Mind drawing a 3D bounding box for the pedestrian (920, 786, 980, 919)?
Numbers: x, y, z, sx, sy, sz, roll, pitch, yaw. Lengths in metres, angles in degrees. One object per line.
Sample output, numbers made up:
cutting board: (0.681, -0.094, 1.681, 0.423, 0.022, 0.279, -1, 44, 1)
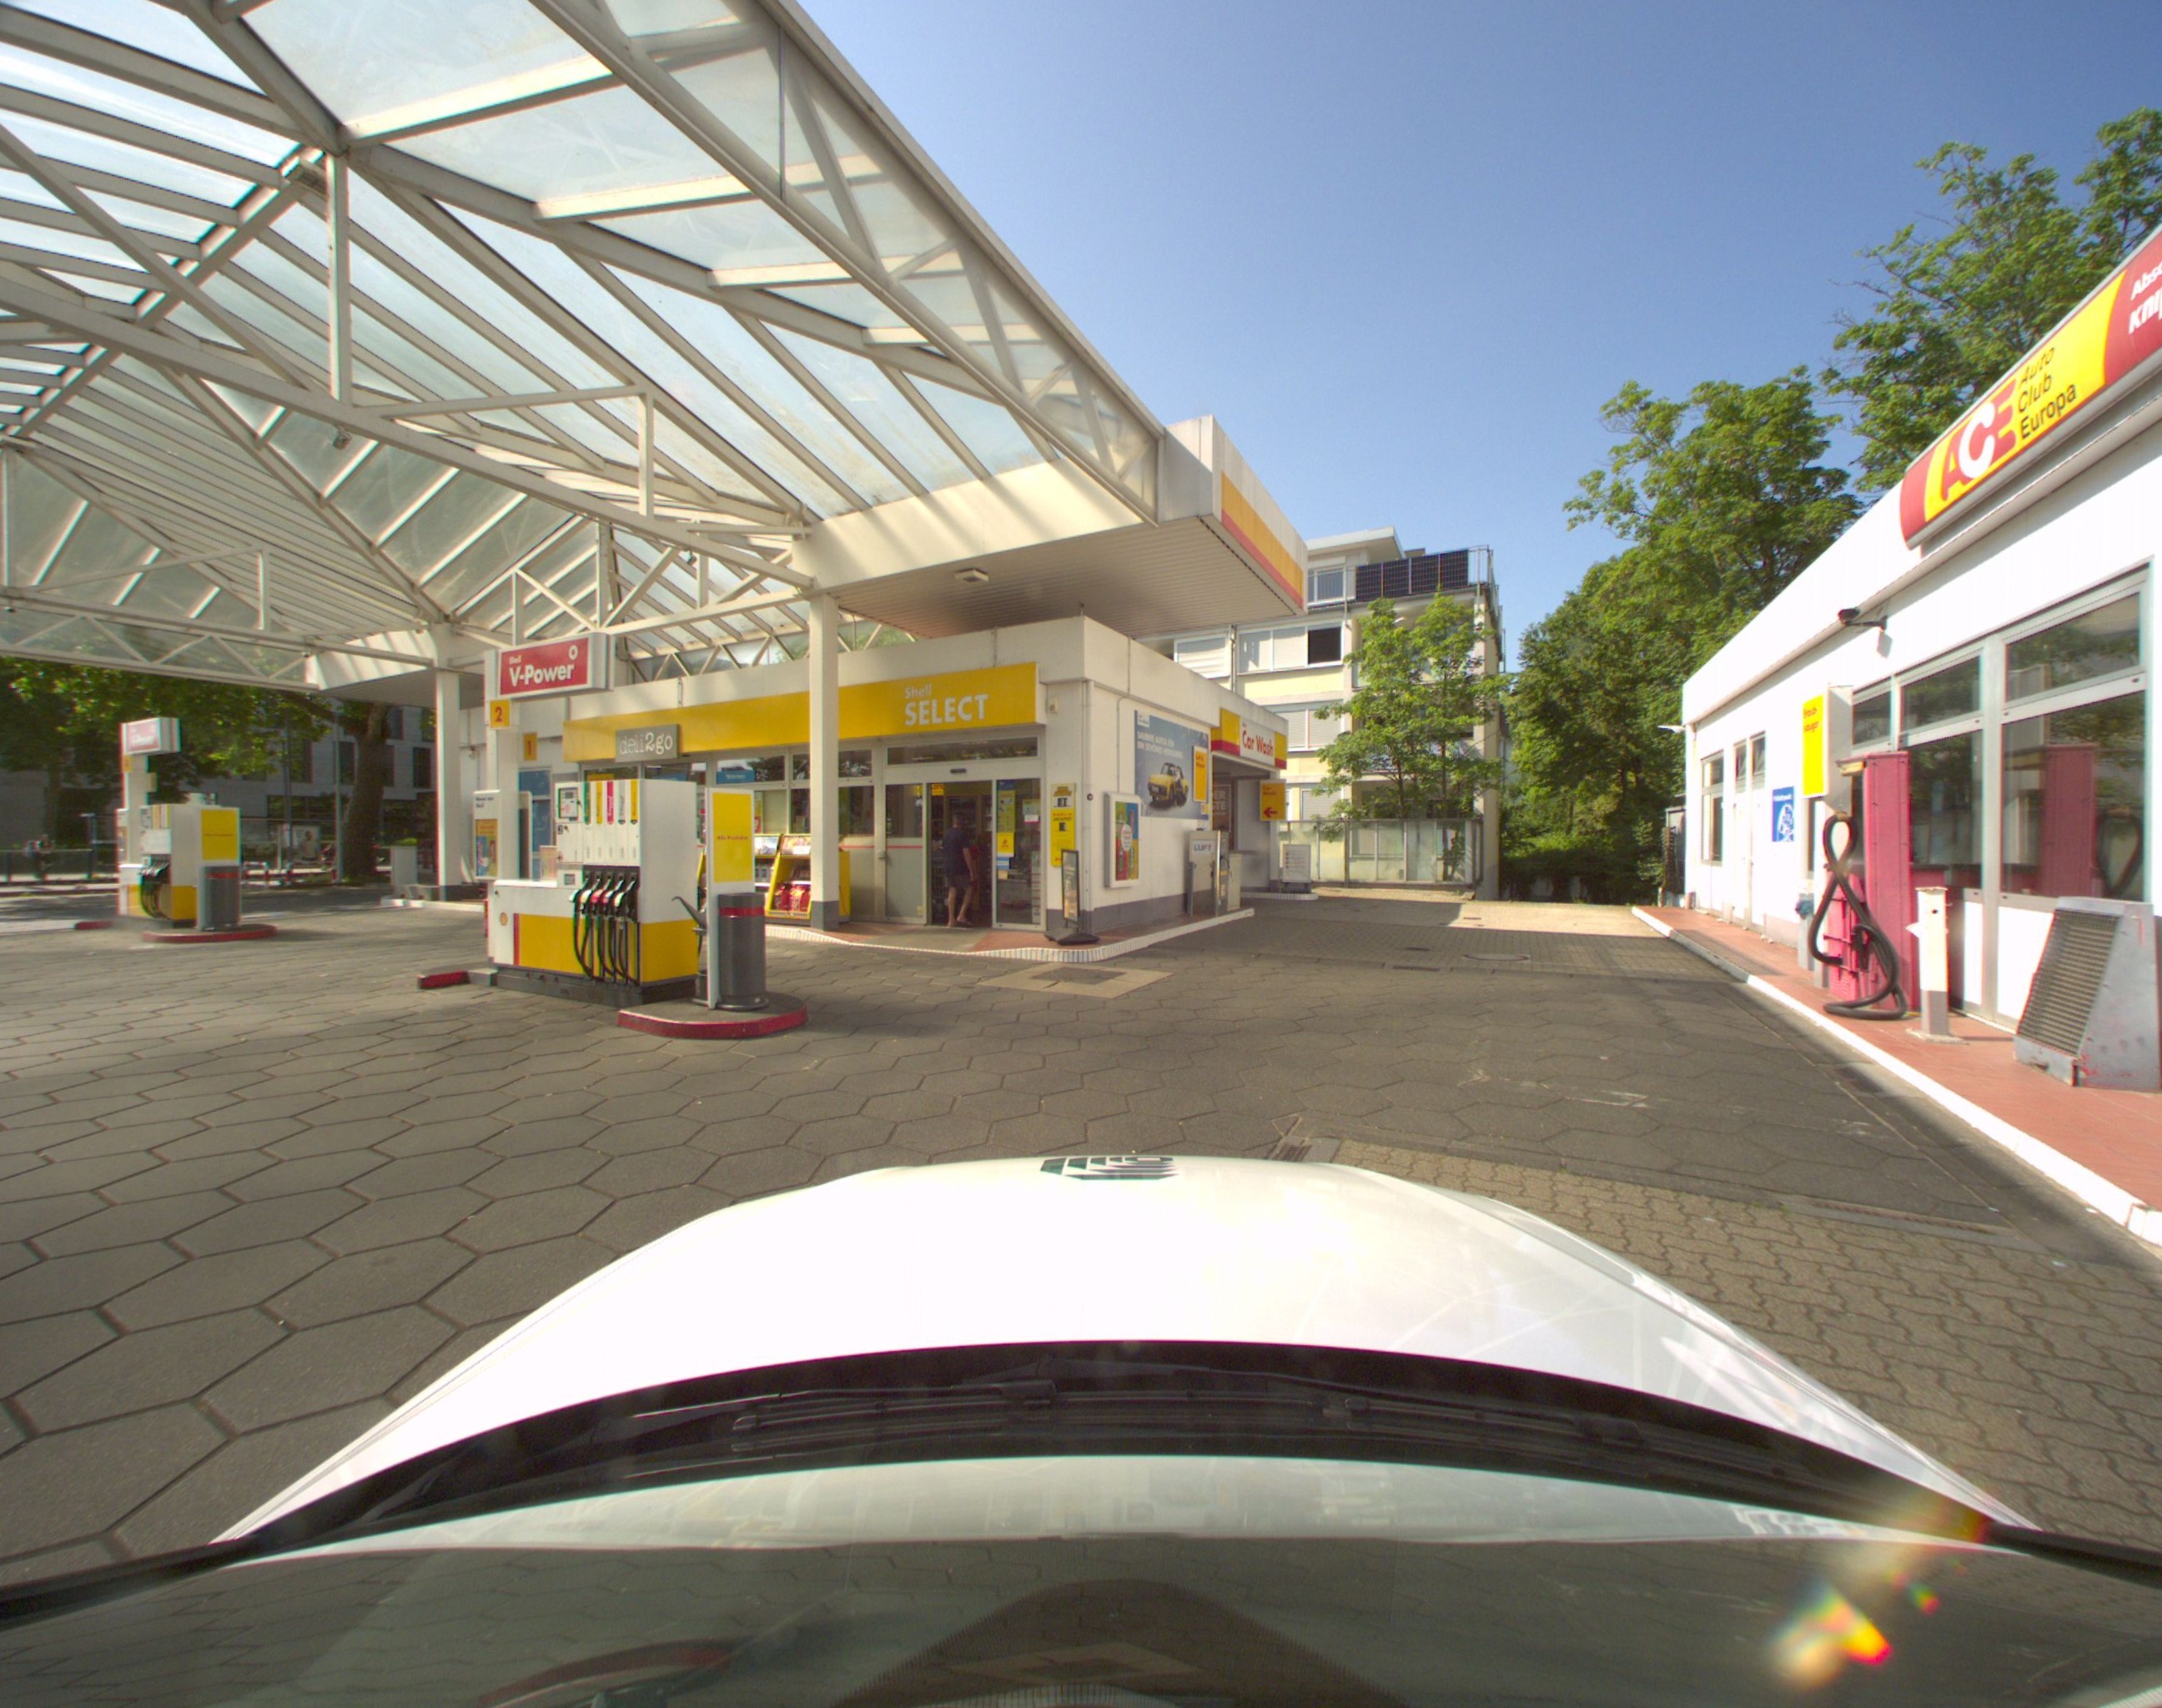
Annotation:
pedestrian: (-2.043, -0.034, 12.764, 0.616, 2.013, 0.746, 0, 1, 20)

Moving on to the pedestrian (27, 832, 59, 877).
pedestrian: (-37.185, 0.012, 29.163, 0.662, 1.591, 0.589, 2, 2, 28)

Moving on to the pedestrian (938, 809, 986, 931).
pedestrian: (-1.756, 0.227, 12.031, 0.568, 1.761, 0.532, 0, 0, 8)

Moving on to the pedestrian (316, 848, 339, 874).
pedestrian: (-33.551, 0.317, 36.250, 0.517, 1.137, 0.634, 0, 1, 35)
